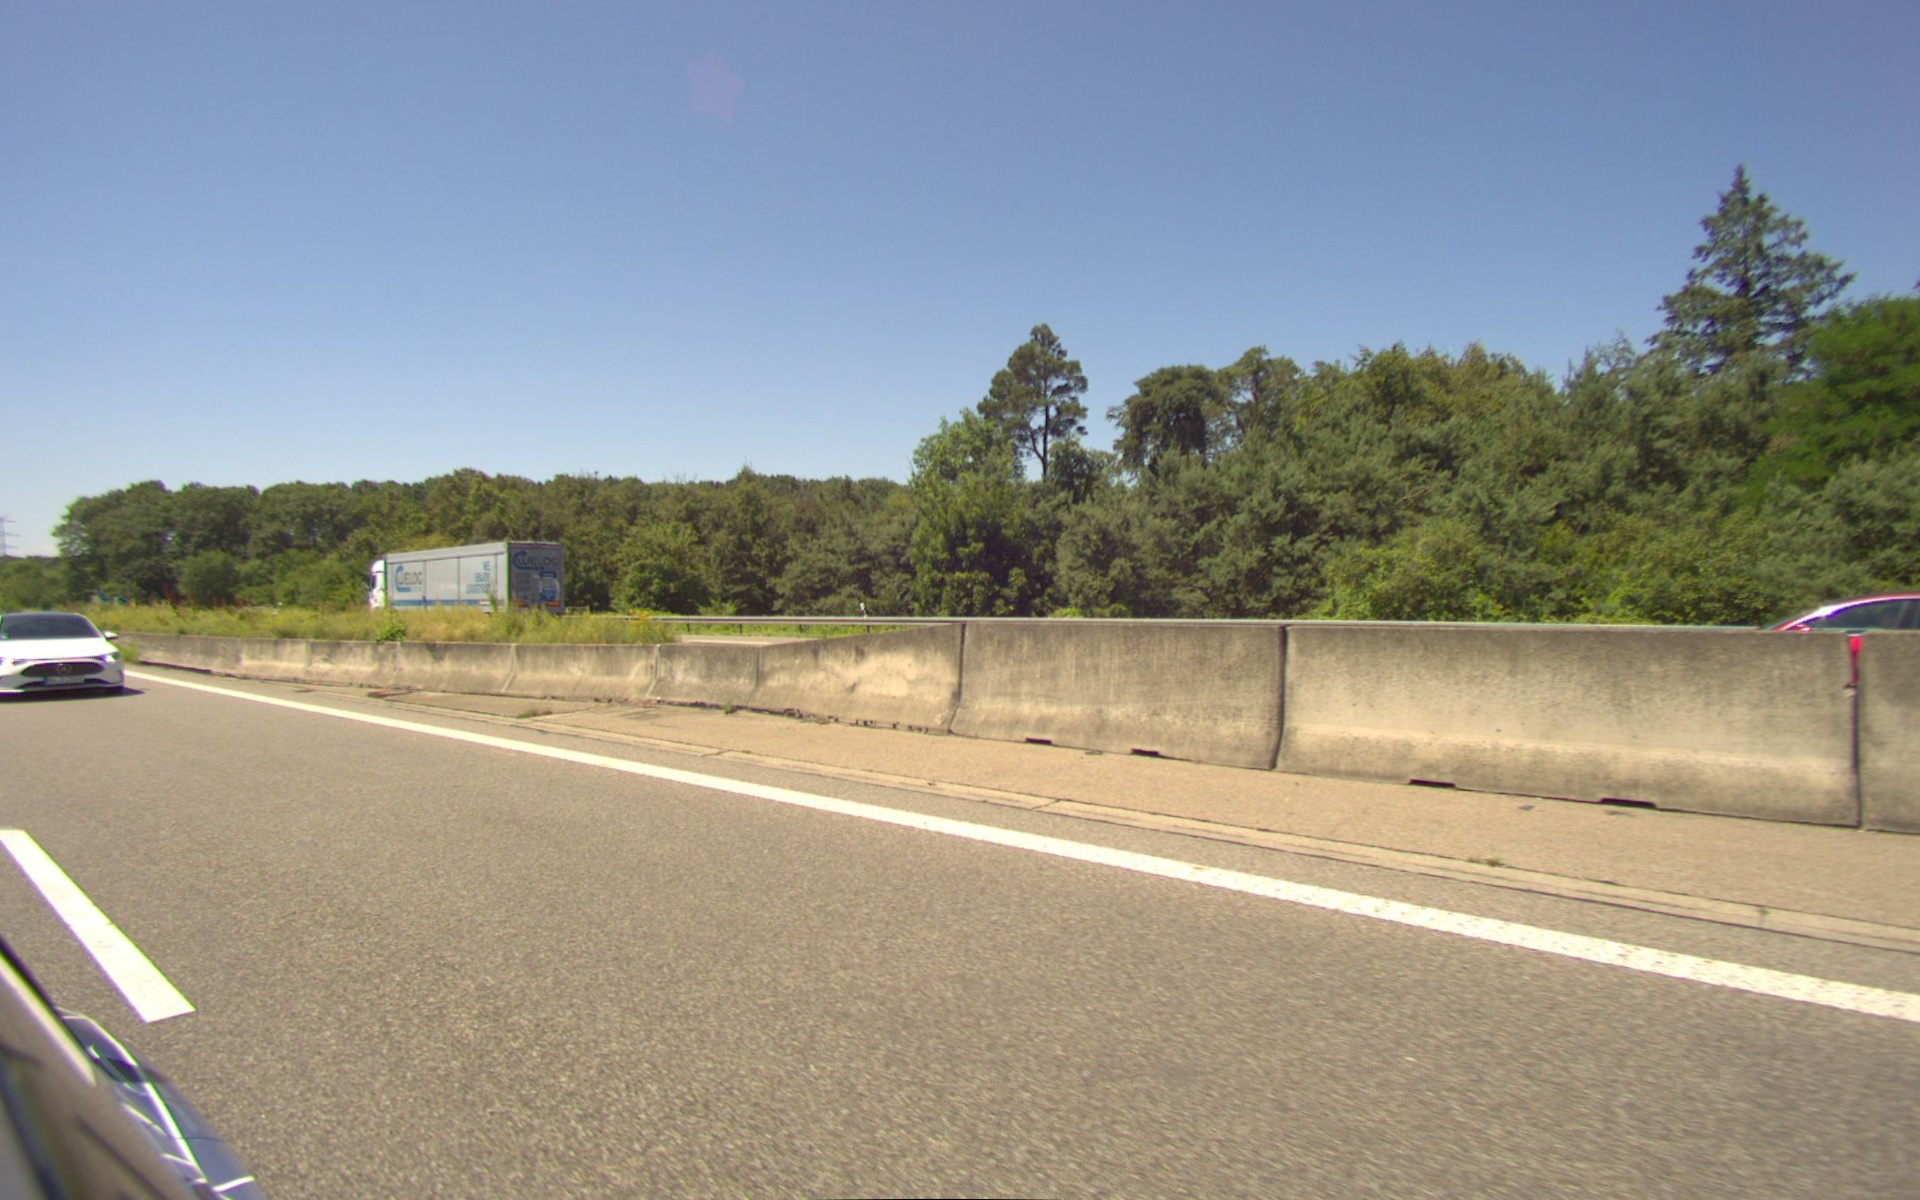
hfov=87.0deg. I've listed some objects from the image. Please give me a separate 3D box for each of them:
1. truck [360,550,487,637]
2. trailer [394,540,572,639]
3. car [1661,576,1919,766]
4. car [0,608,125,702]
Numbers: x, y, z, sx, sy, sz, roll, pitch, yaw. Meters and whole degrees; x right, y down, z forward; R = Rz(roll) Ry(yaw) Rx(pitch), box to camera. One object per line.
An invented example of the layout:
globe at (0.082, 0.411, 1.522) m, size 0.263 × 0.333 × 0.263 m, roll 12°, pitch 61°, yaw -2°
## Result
truck at (-27.353, -0.266, 51.423) m, size 8.189 × 4.107 × 2.953 m, roll -1°, pitch 0°, yaw 41°
trailer at (-22.359, -0.392, 46.934) m, size 11.769 × 4.107 × 2.953 m, roll -1°, pitch 0°, yaw 41°
car at (10.878, 0.745, 11.548) m, size 4.572 × 2.029 × 1.973 m, roll -1°, pitch 0°, yaw 40°
car at (-16.468, 0.895, 18.000) m, size 5.106 × 1.459 × 1.748 m, roll -1°, pitch 0°, yaw 42°
